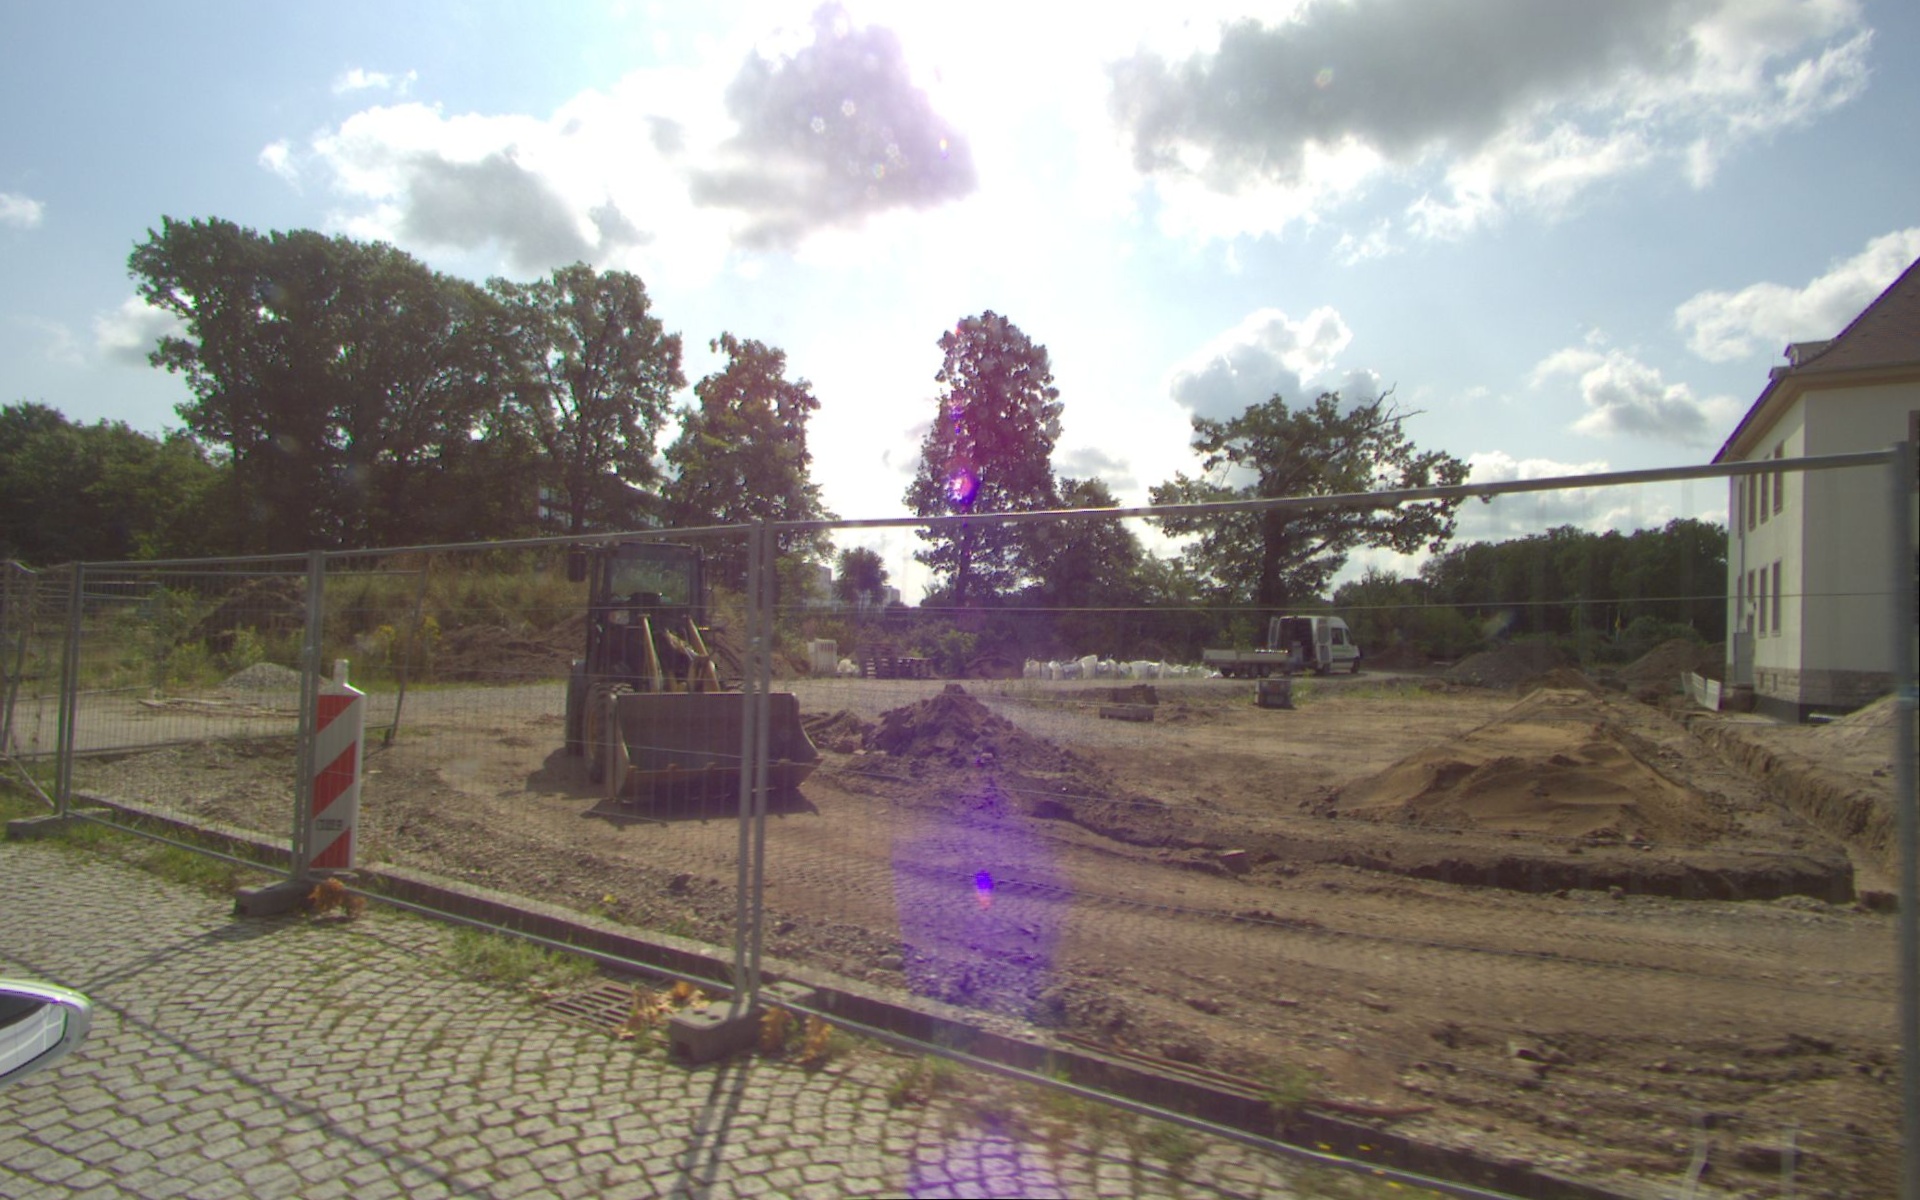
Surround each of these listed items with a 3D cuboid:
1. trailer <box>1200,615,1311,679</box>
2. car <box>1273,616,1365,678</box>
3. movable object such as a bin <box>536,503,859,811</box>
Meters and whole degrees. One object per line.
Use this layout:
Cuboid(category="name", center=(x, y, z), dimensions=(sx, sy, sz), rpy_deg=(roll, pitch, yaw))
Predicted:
Cuboid(category="trailer", center=(12.395, 1.966, 41.887), dimensions=(4.787, 2.504, 1.947), rpy_deg=(2, -2, -36))
Cuboid(category="car", center=(16.325, 2.123, 45.399), dimensions=(2.220, 2.624, 5.399), rpy_deg=(0, -2, 40))
Cuboid(category="movable object such as a bin", center=(-3.272, 0.505, 11.293), dimensions=(2.119, 2.554, 5.626), rpy_deg=(2, -1, -29))
